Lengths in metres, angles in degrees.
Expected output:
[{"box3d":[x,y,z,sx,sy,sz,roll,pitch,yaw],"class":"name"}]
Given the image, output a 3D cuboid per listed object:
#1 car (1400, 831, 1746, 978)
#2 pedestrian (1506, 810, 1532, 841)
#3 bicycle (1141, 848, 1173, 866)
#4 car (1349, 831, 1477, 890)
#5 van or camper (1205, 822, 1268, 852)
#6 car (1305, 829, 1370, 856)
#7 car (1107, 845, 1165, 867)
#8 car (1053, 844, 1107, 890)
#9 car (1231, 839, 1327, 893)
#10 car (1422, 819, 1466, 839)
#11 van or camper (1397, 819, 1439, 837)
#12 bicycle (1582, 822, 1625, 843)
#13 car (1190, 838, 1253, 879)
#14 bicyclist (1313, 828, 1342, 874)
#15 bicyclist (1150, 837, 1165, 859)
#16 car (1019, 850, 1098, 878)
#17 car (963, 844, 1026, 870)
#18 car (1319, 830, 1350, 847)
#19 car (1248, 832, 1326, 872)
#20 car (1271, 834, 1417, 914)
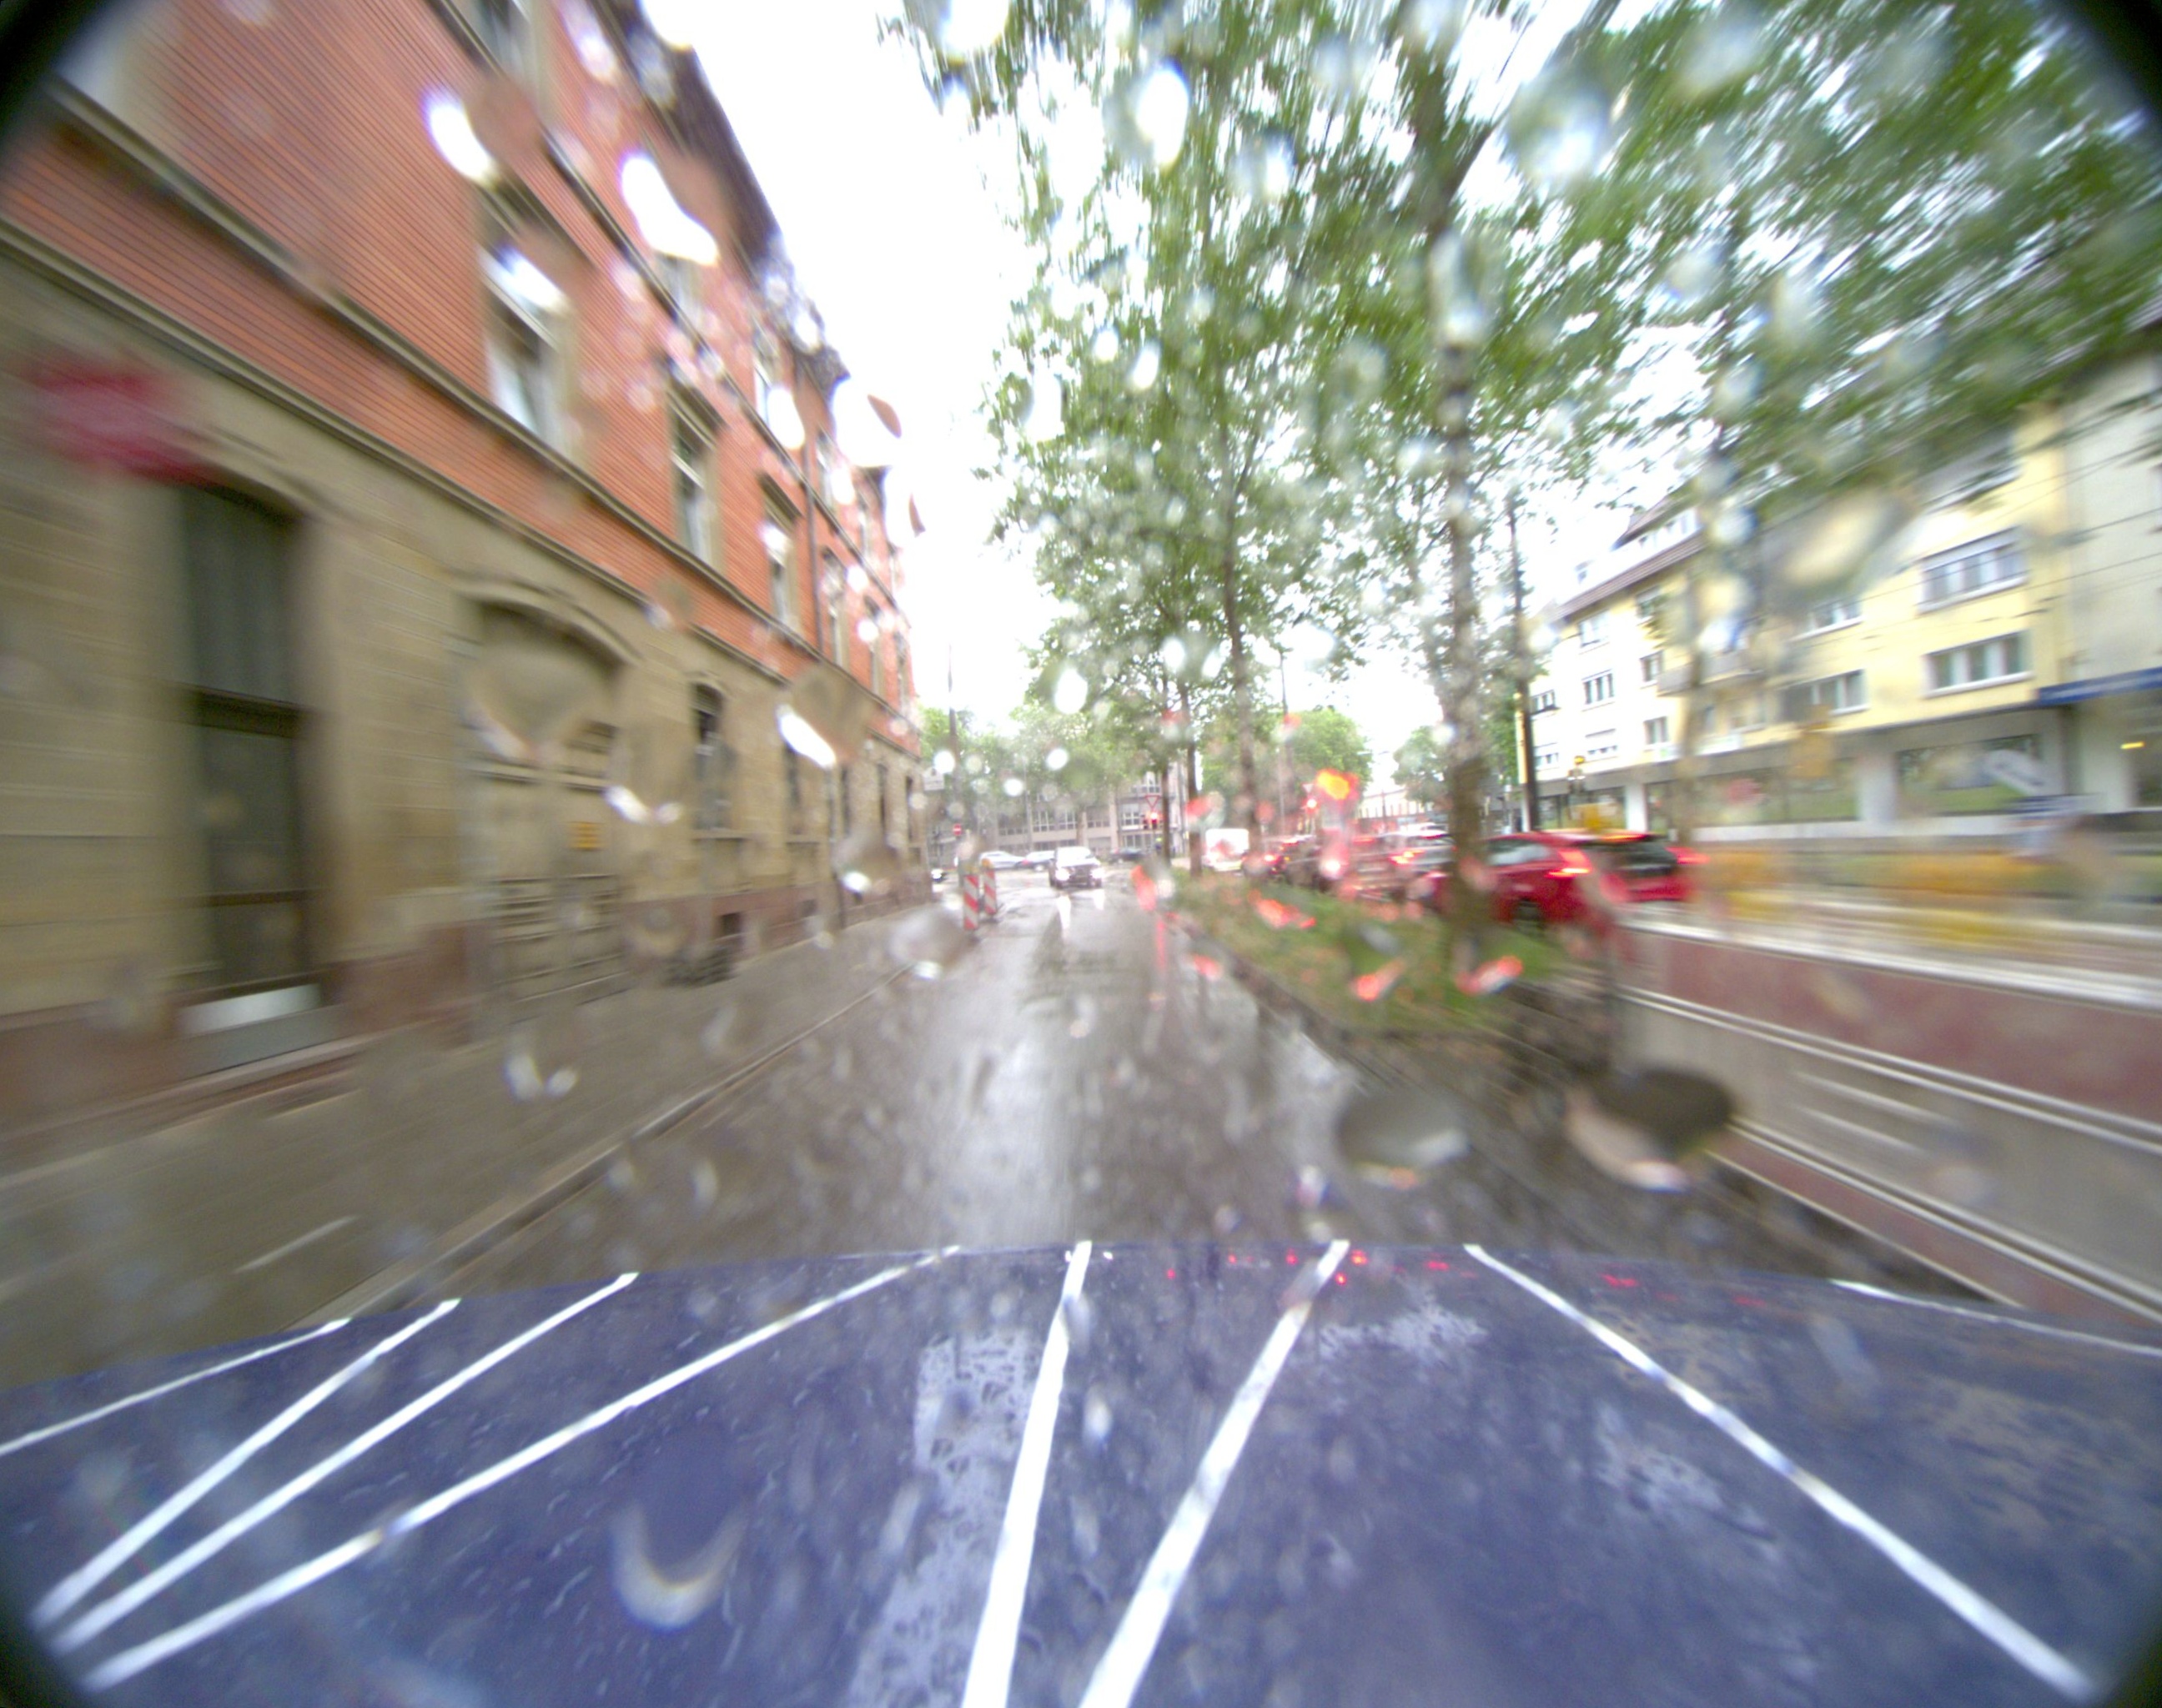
[{"box3d":[5.958,0.511,9.946,1.746,1.389,4.232,-4,0,1],"class":"car"},{"box3d":[25.118,-1.617,43.603,1.015,1.668,0.815,-3,1,13],"class":"pedestrian"},{"box3d":[5.399,0.192,54.077,1.998,1.081,0.819,-5,-1,-8],"class":"bicycle"},{"box3d":[9.153,0.153,21.343,1.745,1.389,4.130,-4,0,1],"class":"car"},{"box3d":[14.404,-1.587,70.170,5.979,2.457,2.176,-5,2,-37],"class":"van or camper"},{"box3d":[19.597,-0.899,58.129,4.266,1.732,1.975,-4,2,-7],"class":"car"},{"box3d":[4.658,0.166,64.194,4.561,1.505,1.783,-5,2,-26],"class":"car"},{"box3d":[-0.117,0.477,32.344,1.913,1.637,4.677,-4,2,-3],"class":"car"},{"box3d":[6.296,0.340,24.692,1.861,1.476,4.639,-4,0,1],"class":"car"},{"box3d":[43.147,-2.975,90.499,4.389,2.002,2.069,-3,2,17],"class":"car"},{"box3d":[43.734,-3.365,98.642,4.648,2.063,2.001,-2,2,10],"class":"van or camper"},{"box3d":[24.646,-0.997,35.881,0.613,0.891,2.046,-4,1,1],"class":"bicycle"},{"box3d":[5.798,0.166,31.858,1.739,1.480,4.500,-4,0,1],"class":"car"},{"box3d":[9.412,-0.133,29.018,0.714,1.706,0.889,-4,2,-3],"class":"bicyclist"},{"box3d":[5.431,-0.423,54.147,0.805,1.462,0.927,-3,3,-7],"class":"bicyclist"},{"box3d":[-1.642,0.701,55.028,5.337,1.583,1.947,-4,1,-11],"class":"car"},{"box3d":[-6.734,0.214,59.242,4.558,1.650,1.785,-4,2,-14],"class":"car"},{"box3d":[27.783,-1.693,83.194,1.803,1.578,4.080,-3,2,39],"class":"car"},{"box3d":[8.882,-0.087,33.128,1.879,1.493,4.282,-4,0,-4],"class":"car"},{"box3d":[5.805,0.391,17.377,1.745,1.471,4.431,-4,0,1],"class":"car"}]
